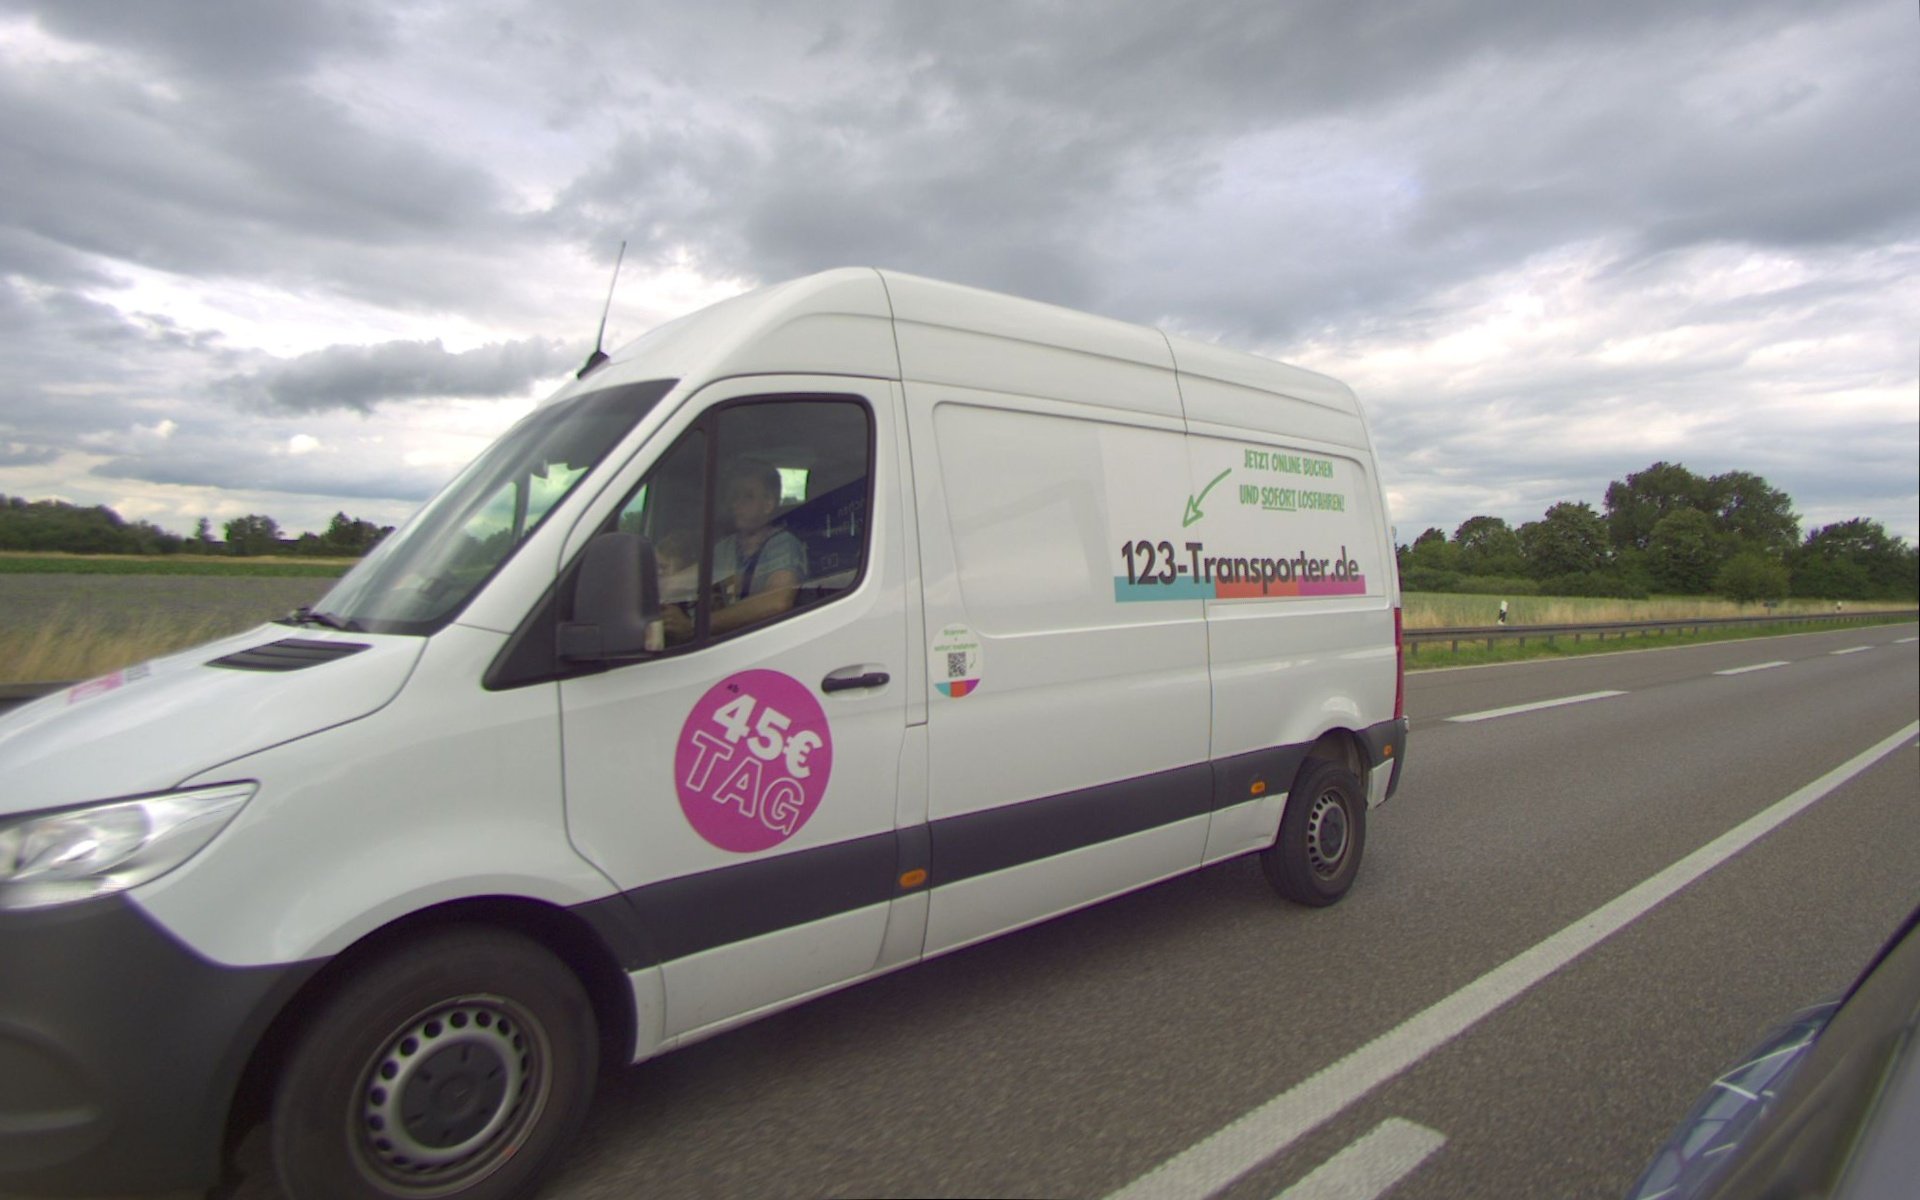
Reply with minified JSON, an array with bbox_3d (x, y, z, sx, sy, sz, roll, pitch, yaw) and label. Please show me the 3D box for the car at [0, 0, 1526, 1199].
[{"bbox_3d":[0.050,0.083,4.429,6.145,2.600,2.226,0,1,-40],"label":"car"}]
